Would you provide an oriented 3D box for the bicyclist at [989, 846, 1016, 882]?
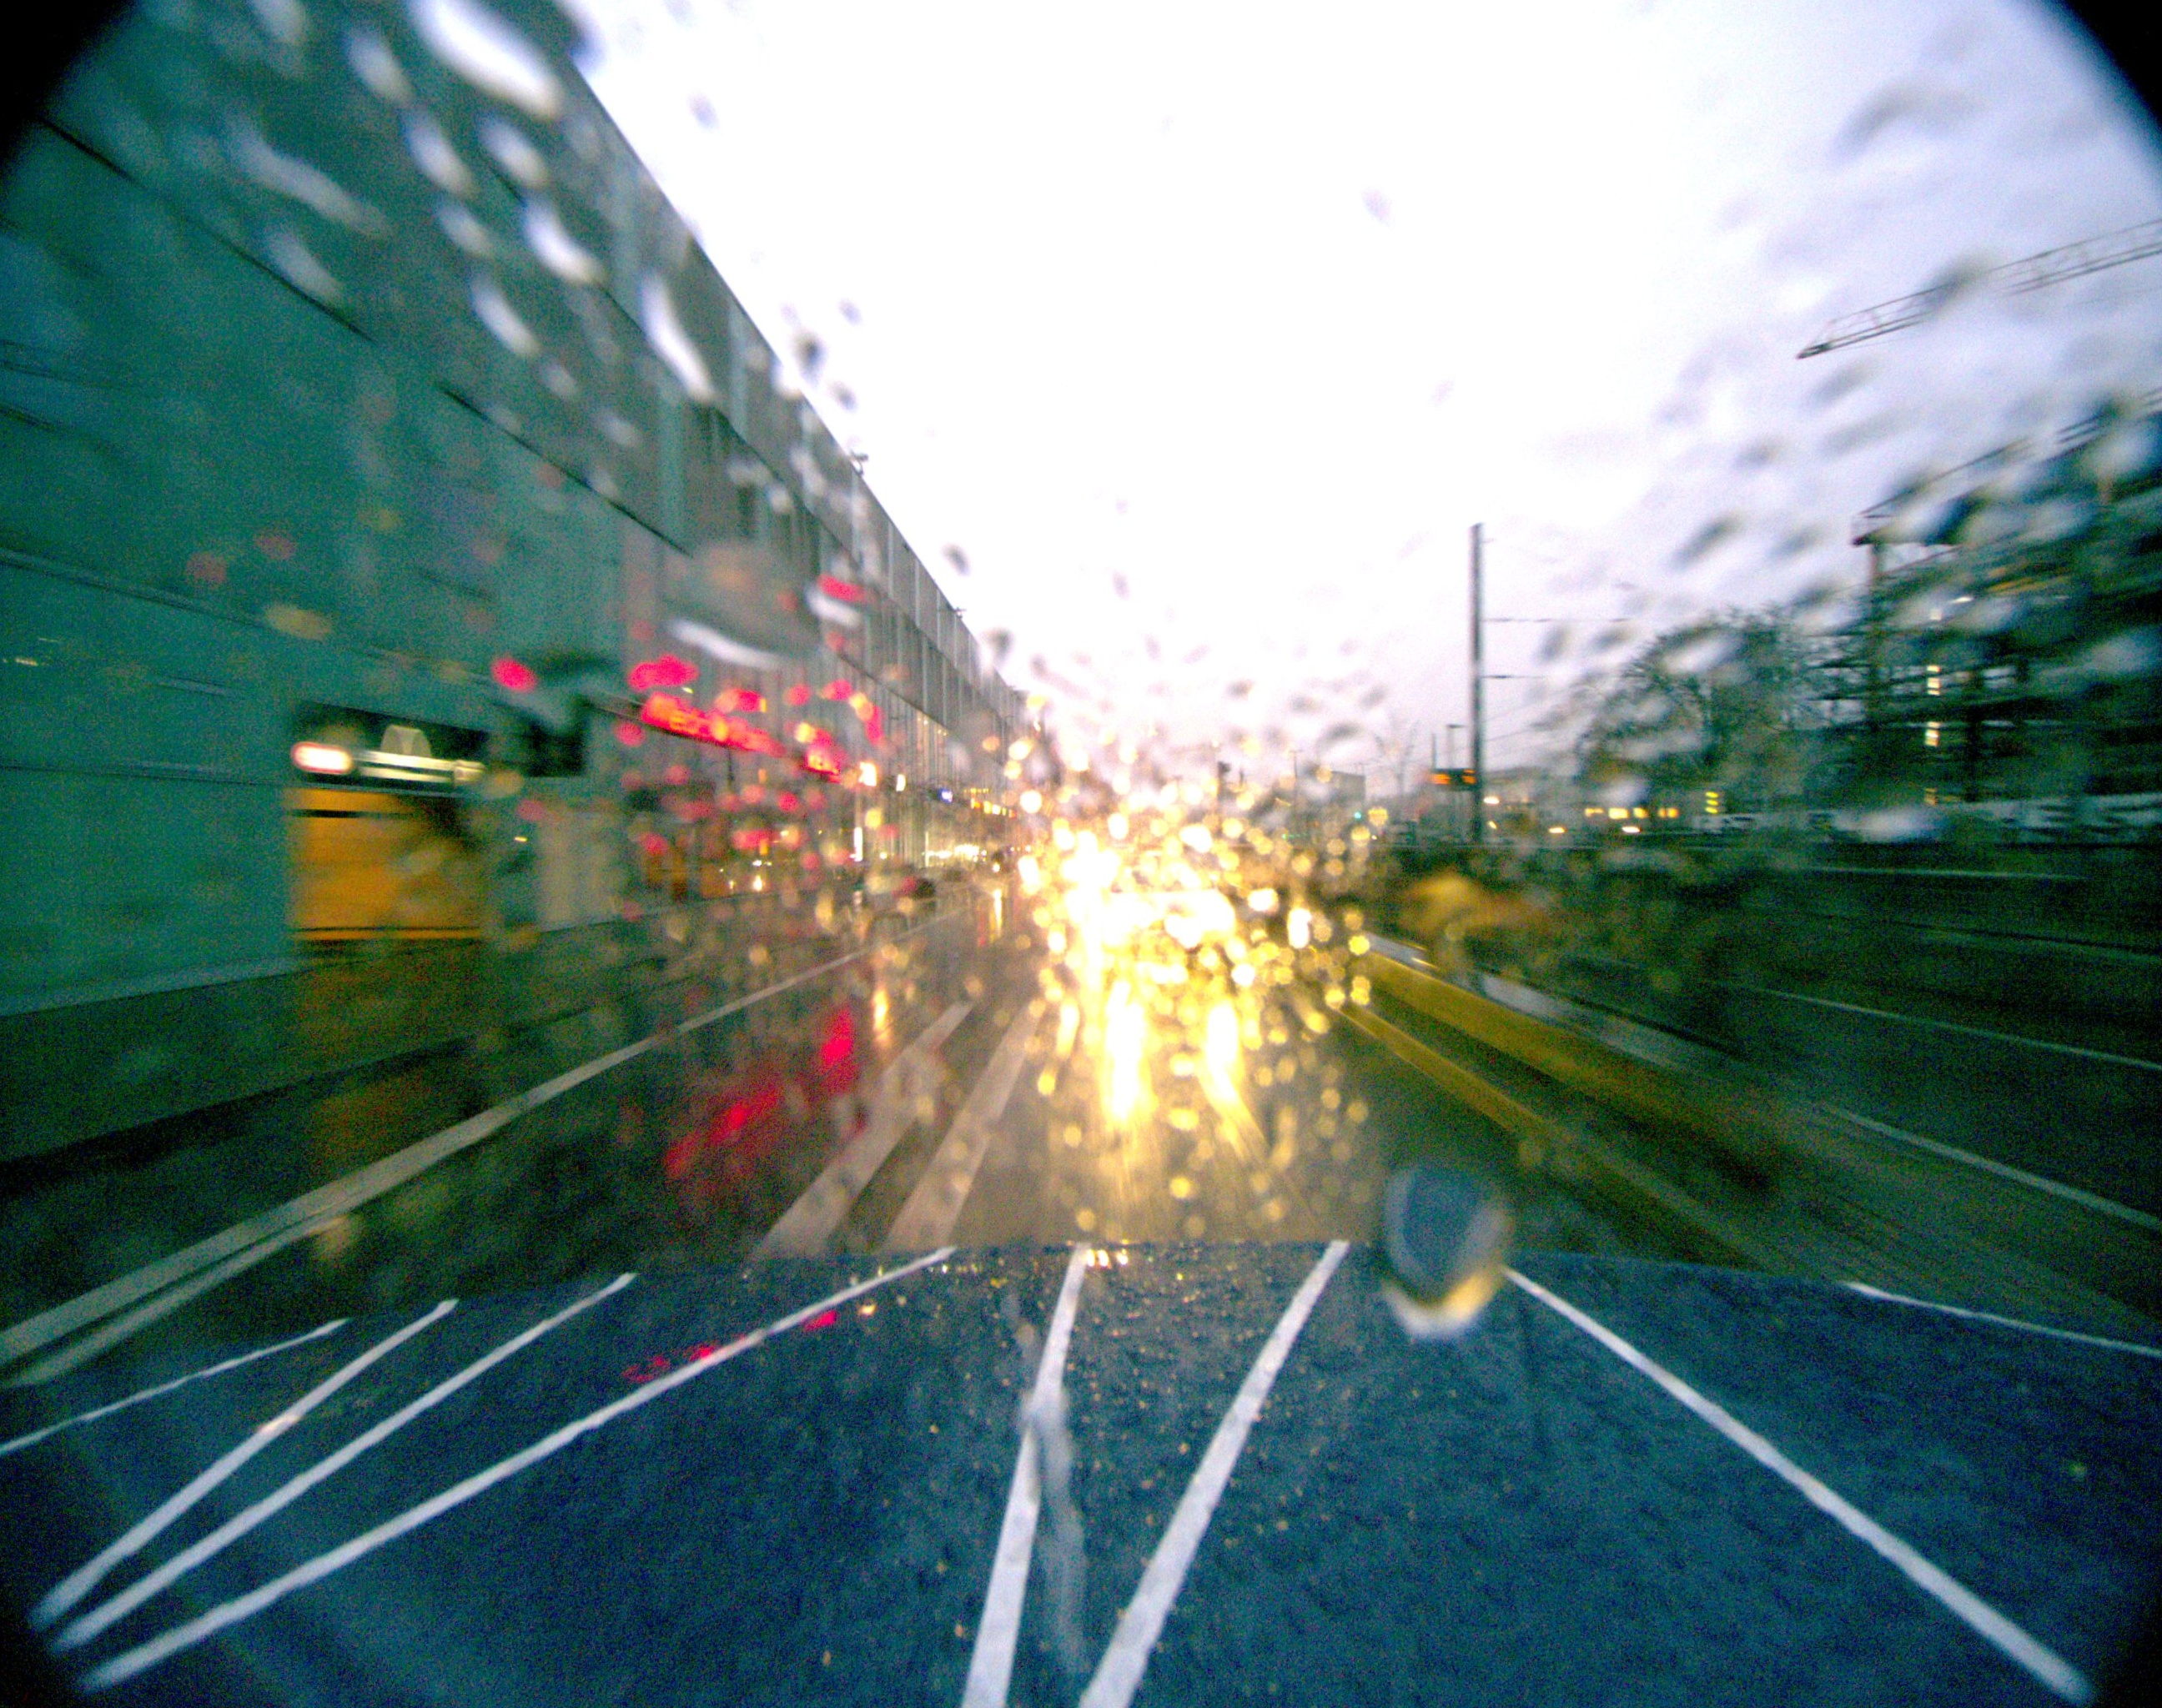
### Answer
[{"bbox_3d":[-3.343,0.411,32.402,0.945,1.454,1.066,-2,1,4],"label":"bicyclist"}]

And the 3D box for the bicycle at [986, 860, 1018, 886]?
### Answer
[{"bbox_3d":[-3.346,0.781,32.410,0.945,0.993,2.240,-2,1,4],"label":"bicycle"}]

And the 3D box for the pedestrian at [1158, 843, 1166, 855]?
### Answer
[{"bbox_3d":[11.649,-0.684,109.610,0.862,1.705,0.763,-2,2,-24],"label":"pedestrian"}]

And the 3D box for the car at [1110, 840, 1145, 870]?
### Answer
[{"bbox_3d":[2.875,0.014,46.219,1.998,1.673,4.000,-2,1,4],"label":"car"}]

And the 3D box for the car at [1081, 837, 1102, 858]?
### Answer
[{"bbox_3d":[1.161,-0.704,78.980,1.998,2.002,4.000,-1,1,3],"label":"car"}]

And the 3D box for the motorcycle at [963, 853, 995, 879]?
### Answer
[{"bbox_3d":[-5.496,0.652,40.777,1.904,1.326,0.596,1,3,43],"label":"motorcycle"}]

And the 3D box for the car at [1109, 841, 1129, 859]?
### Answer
[{"bbox_3d":[3.751,-0.396,74.883,1.867,1.652,3.987,-1,1,3],"label":"car"}]

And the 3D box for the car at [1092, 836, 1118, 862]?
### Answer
[{"bbox_3d":[1.870,-0.411,58.121,1.864,1.867,4.000,-2,1,4],"label":"car"}]

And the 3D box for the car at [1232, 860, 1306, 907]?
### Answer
[{"bbox_3d":[6.438,0.971,26.466,1.809,1.445,4.005,0,1,4],"label":"car"}]

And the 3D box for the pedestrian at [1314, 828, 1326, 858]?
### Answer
[{"bbox_3d":[13.606,-0.622,43.295,0.585,1.692,0.741,-1,2,14],"label":"pedestrian"}]

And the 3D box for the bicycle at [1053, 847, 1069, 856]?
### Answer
[{"bbox_3d":[-2.456,-0.332,93.958,1.908,1.168,0.667,1,1,2],"label":"bicycle"}]

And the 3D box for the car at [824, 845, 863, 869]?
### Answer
[{"bbox_3d":[-18.274,0.202,58.625,1.675,1.721,3.999,-1,1,1],"label":"car"}]

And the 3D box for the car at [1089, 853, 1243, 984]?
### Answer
[{"bbox_3d":[1.187,0.786,11.251,1.813,1.464,4.139,-2,1,5],"label":"car"}]
